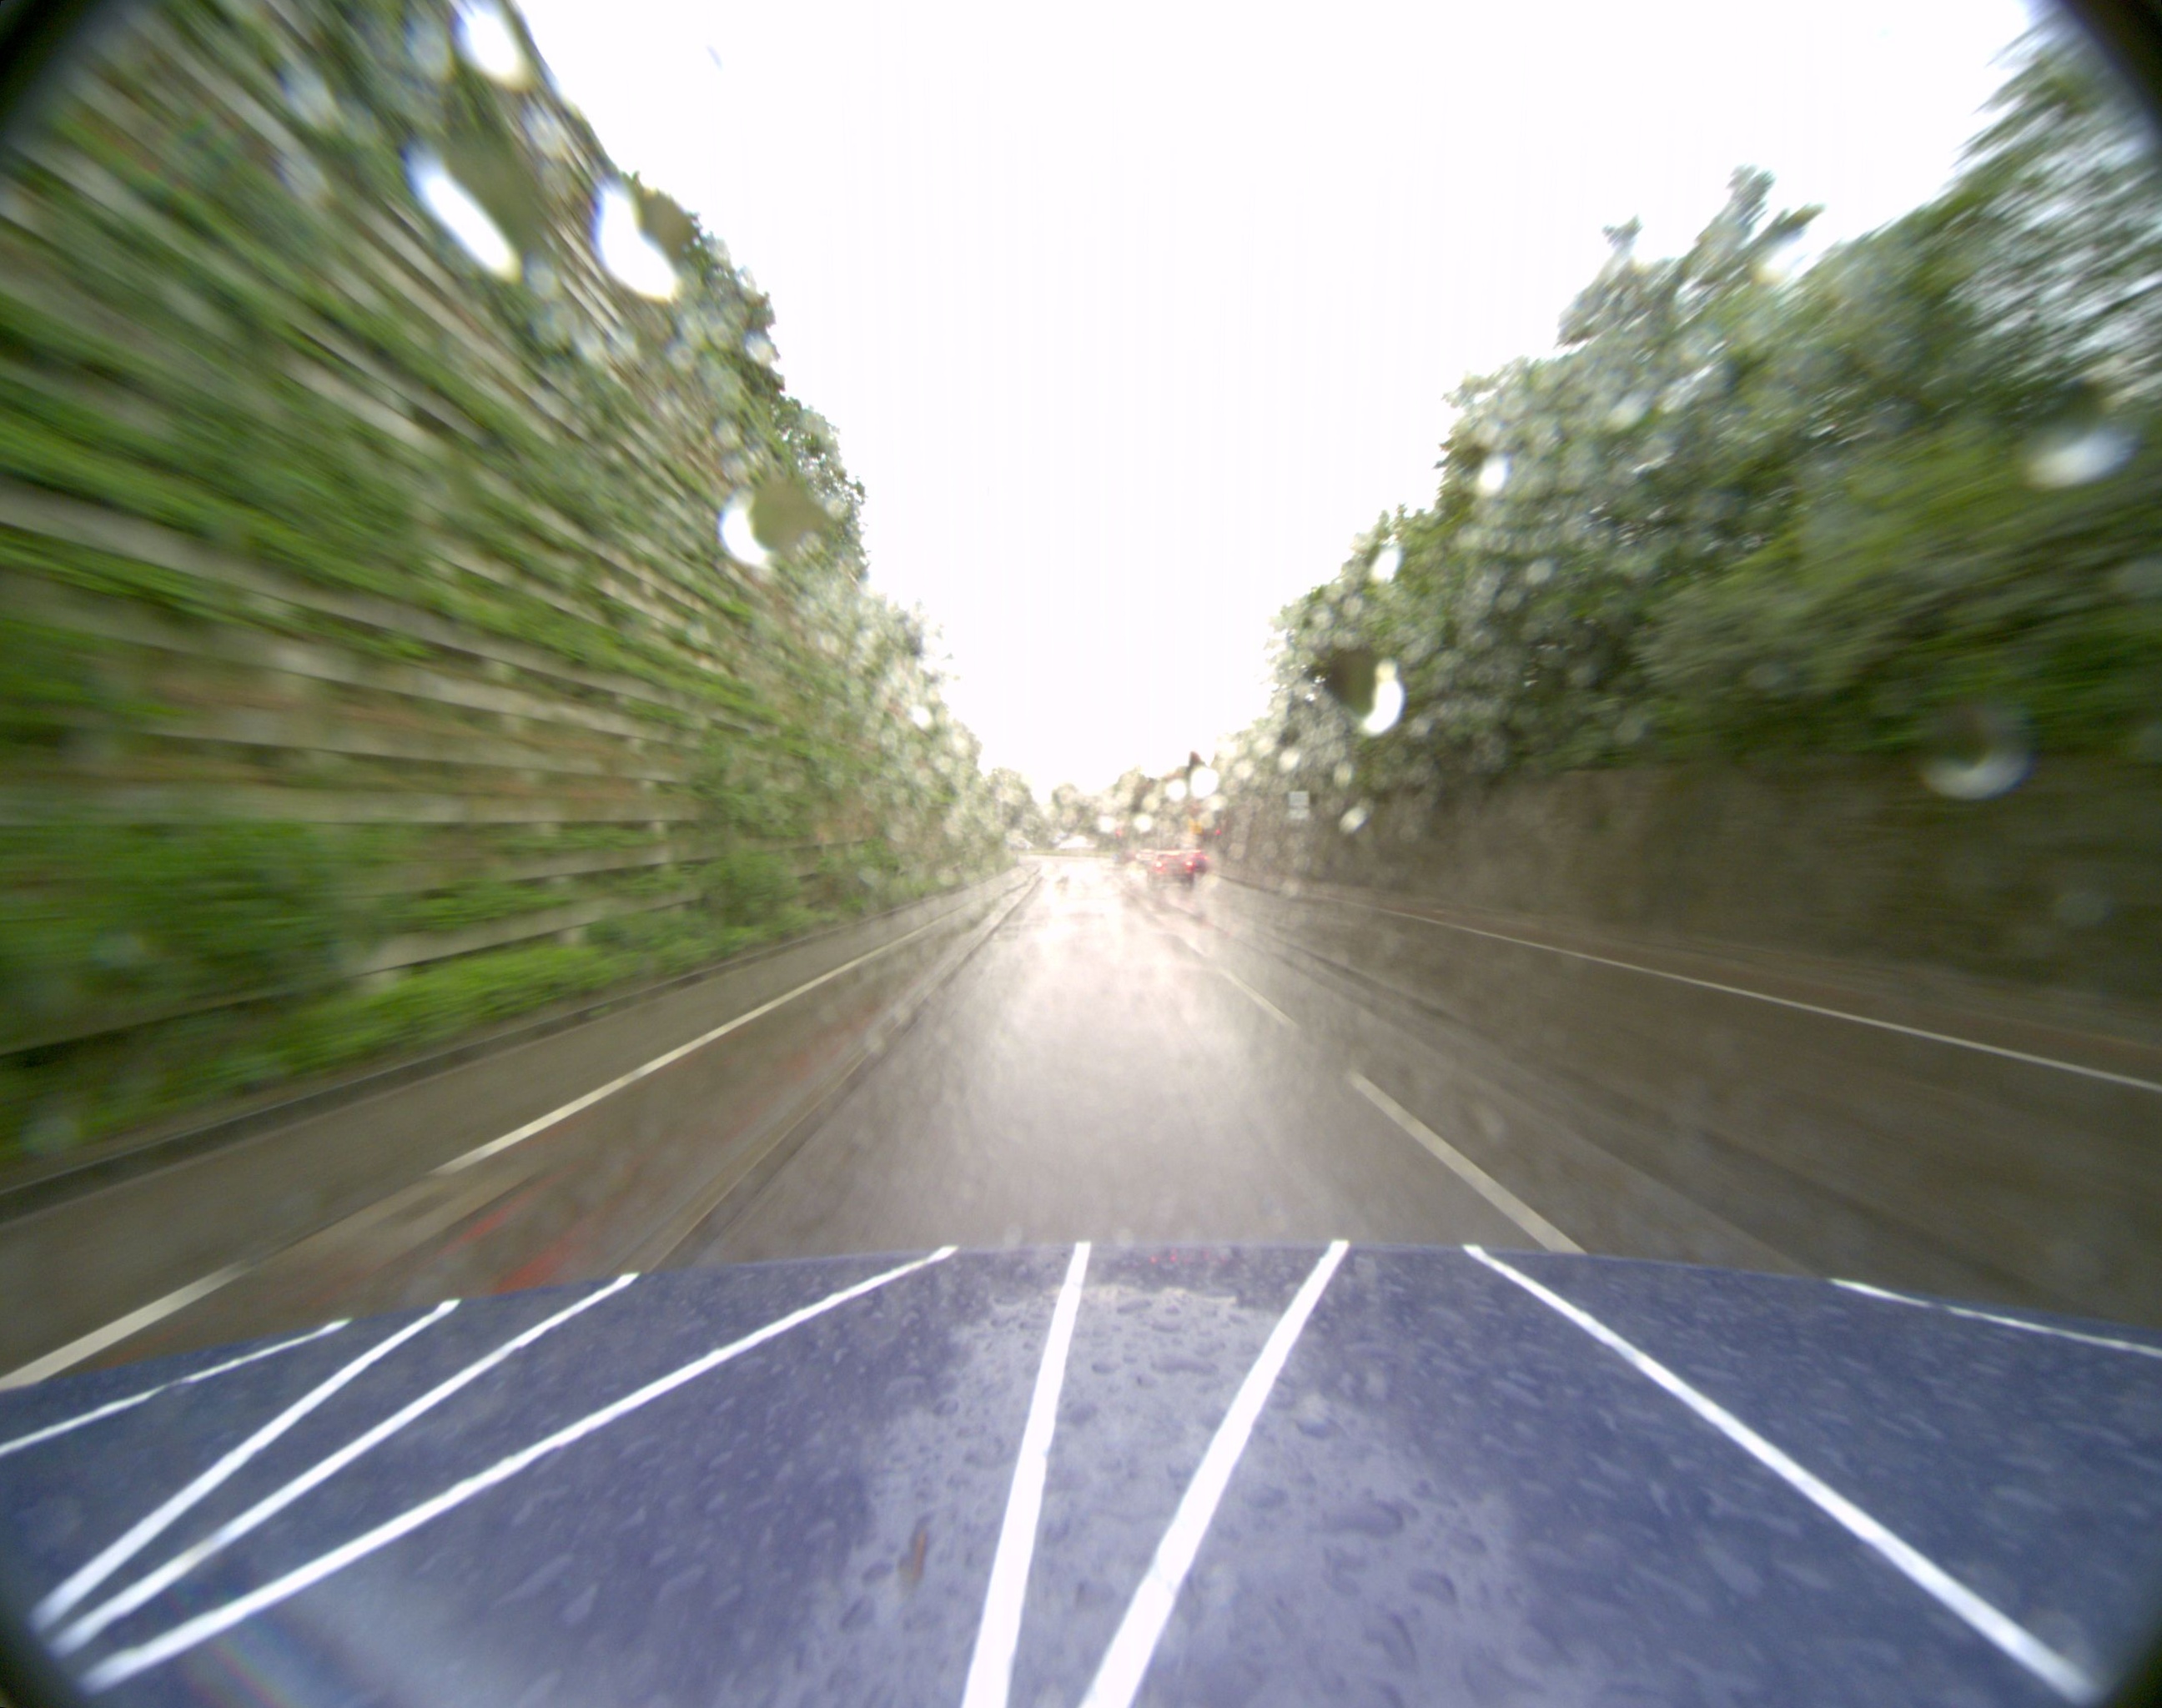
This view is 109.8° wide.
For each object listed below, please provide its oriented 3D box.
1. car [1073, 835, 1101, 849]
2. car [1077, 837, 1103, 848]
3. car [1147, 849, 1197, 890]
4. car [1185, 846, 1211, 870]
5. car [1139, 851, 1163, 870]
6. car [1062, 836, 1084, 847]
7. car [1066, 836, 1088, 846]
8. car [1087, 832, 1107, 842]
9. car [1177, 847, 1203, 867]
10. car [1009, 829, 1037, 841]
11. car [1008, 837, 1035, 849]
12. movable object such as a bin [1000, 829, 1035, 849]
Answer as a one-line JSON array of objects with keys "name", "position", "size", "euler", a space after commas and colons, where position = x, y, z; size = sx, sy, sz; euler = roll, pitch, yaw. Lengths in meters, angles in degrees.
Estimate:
[{"name": "car", "position": [0.878, -1.860, 117.927], "size": [4.232, 1.969, 1.903], "euler": [2, 2, -1]}, {"name": "car", "position": [1.405, -1.762, 115.518], "size": [3.822, 1.559, 1.774], "euler": [2, 2, -1]}, {"name": "car", "position": [3.900, 0.620, 33.093], "size": [1.737, 1.609, 3.999], "euler": [-1, 1, 1]}, {"name": "car", "position": [8.740, 0.281, 56.927], "size": [1.818, 1.648, 4.051], "euler": [0, 2, 7]}, {"name": "car", "position": [5.881, 0.530, 63.589], "size": [1.872, 1.592, 4.002], "euler": [1, 0, 6]}, {"name": "car", "position": [-1.502, -2.382, 139.915], "size": [3.962, 1.869, 1.692], "euler": [2, 2, -4]}, {"name": "car", "position": [-0.704, -2.407, 137.348], "size": [3.880, 1.619, 1.693], "euler": [2, 2, -4]}, {"name": "car", "position": [2.828, -3.028, 134.911], "size": [3.478, 1.531, 1.447], "euler": [2, 2, -2]}, {"name": "car", "position": [9.184, 0.200, 64.226], "size": [1.997, 1.494, 4.730], "euler": [3, 2, 6]}, {"name": "car", "position": [-9.747, -3.203, 127.515], "size": [4.386, 1.756, 1.921], "euler": [2, 2, 0]}, {"name": "car", "position": [-9.012, -1.694, 115.090], "size": [3.997, 1.565, 1.669], "euler": [2, 2, -1]}, {"name": "movable object such as a bin", "position": [-9.176, -2.162, 109.394], "size": [2.316, 2.671, 5.686], "euler": [1, 1, -36]}]
